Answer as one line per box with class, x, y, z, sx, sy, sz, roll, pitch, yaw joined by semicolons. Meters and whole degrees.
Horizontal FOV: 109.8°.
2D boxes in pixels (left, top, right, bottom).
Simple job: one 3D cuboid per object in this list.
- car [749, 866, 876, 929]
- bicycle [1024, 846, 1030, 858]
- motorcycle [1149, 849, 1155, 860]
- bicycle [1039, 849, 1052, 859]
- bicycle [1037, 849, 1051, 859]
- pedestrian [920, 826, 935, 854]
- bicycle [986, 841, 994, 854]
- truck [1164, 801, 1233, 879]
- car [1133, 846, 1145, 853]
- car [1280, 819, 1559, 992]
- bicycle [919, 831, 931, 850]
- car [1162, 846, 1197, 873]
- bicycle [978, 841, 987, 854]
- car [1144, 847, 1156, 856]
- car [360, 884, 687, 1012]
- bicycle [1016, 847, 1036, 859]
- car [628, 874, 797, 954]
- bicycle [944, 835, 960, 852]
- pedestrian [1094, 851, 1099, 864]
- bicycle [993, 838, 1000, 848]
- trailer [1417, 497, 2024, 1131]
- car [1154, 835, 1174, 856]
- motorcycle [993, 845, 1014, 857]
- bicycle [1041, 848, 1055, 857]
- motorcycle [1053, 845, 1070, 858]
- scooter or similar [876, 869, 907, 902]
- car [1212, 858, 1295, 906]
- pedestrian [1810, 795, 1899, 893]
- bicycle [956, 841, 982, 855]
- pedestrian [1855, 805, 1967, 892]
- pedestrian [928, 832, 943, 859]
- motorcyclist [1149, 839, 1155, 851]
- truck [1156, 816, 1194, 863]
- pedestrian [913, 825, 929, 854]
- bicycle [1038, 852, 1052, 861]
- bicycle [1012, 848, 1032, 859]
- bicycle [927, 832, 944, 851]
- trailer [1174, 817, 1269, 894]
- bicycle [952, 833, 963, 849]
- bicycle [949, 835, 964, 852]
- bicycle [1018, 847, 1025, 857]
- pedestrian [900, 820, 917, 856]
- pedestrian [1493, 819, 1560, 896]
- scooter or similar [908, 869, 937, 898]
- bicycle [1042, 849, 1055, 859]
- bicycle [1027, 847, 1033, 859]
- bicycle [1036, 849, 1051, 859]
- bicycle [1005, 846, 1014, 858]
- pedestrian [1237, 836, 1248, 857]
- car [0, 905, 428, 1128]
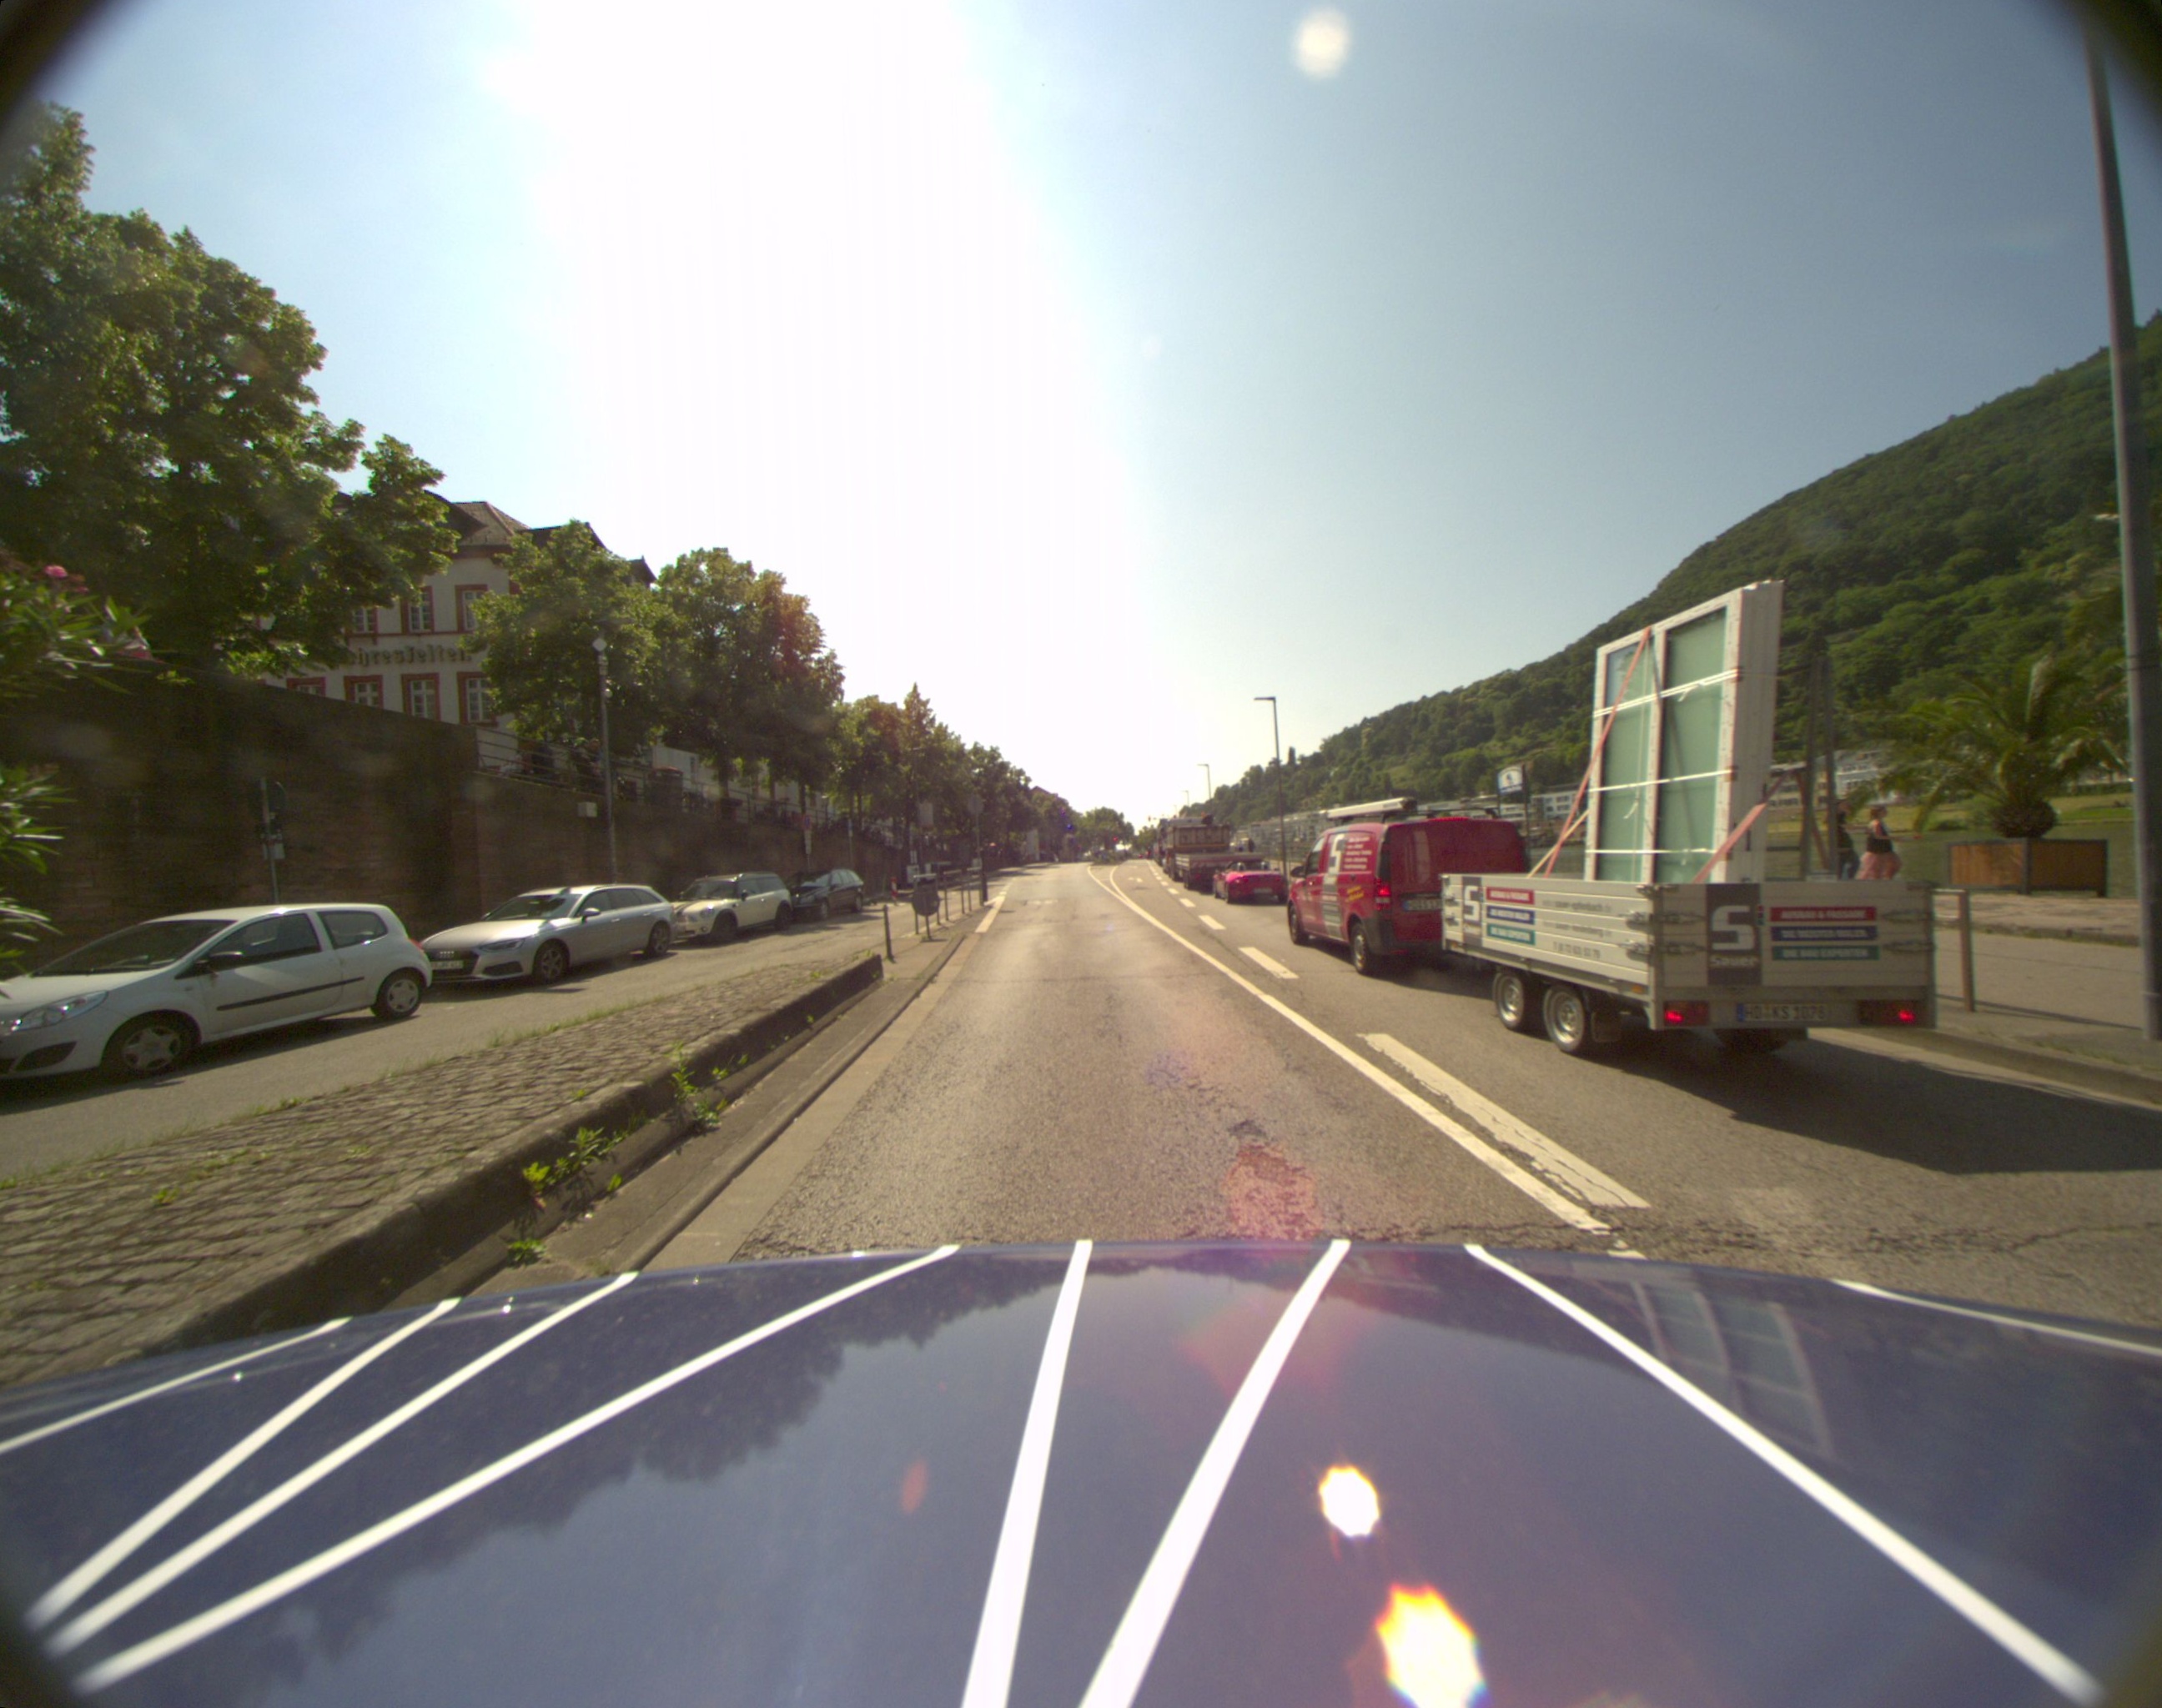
car;-7.859;1.206;22.750;1.847;1.442;4.535;-3;1;4
bicycle;-5.806;-0.206;81.833;0.476;1.254;2.162;-1;1;2
motorcycle;9.128;0.040;97.750;0.728;1.379;2.512;-3;1;6
bicycle;-4.466;-0.017;95.538;1.631;1.163;0.350;-1;1;0
bicycle;-4.468;0.016;91.808;1.753;1.126;0.540;-1;1;-3
pedestrian;-9.624;-0.889;47.766;0.720;1.711;0.573;-3;1;4
bicycle;-7.377;-0.518;61.712;0.299;0.998;1.942;-3;0;3
truck;5.715;-0.720;38.073;2.648;3.437;7.871;-2;1;4
car;11.958;-0.903;155.732;1.908;1.428;3.890;-3;1;-2
car;4.253;0.555;10.479;1.879;1.817;4.544;-2;0;1
bicycle;-9.021;-0.781;44.001;0.411;1.099;1.734;-2;1;-3
car;5.935;0.282;46.225;1.781;1.435;3.997;-3;1;4
bicycle;-7.708;-0.483;59.591;0.299;0.998;1.860;-3;0;3
car;12.694;-0.404;139.469;1.998;1.444;4.262;-4;0;3
car;-8.899;1.390;12.819;1.758;1.424;4.756;-3;1;3
bicycle;-6.389;-0.135;88.056;2.160;1.360;0.584;-1;1;4
car;-8.311;1.291;17.569;1.615;1.405;3.904;-3;1;6
bicycle;-8.506;-0.706;50.113;0.411;1.099;1.735;-3;1;9
pedestrian;2.087;0.466;102.324;0.541;1.767;0.582;-2;0;2
bicycle;-7.243;-0.934;65.196;0.350;0.779;1.919;-3;0;2
trailer;4.129;-0.200;5.709;1.746;3.301;3.384;-2;1;2
car;10.280;-1.085;94.346;2.199;2.511;4.749;0;1;4
motorcycle;-7.488;-0.263;73.198;1.920;1.092;0.574;-2;1;-4
bicycle;-4.063;-0.192;93.950;1.631;1.126;0.413;-1;1;0
motorcycle;-2.494;-0.354;96.486;2.196;1.519;0.800;-2;1;40
scooter or similar;-7.436;1.227;29.926;0.532;1.223;1.272;-2;1;18
car;4.960;0.776;22.307;1.675;1.187;3.628;-2;1;1
pedestrian;13.963;-0.173;13.731;0.797;1.682;0.845;-4;1;-24
bicycle;-8.565;-0.430;58.176;1.858;0.999;0.299;-3;0;1
pedestrian;15.205;-0.109;13.951;0.795;1.525;1.116;1;1;1
pedestrian;-9.258;-0.552;48.377;0.720;1.711;0.573;-3;1;4
motorcyclist;9.098;-1.102;97.608;0.703;1.518;0.861;-3;1;6
truck;7.784;-1.178;63.833;2.648;3.456;11.110;-3;1;5
pedestrian;-9.941;-0.896;47.167;0.720;1.711;0.711;-3;1;4
bicycle;-4.497;0.307;95.238;1.631;1.210;0.413;-1;1;0
bicycle;-6.653;-0.050;85.984;2.160;1.254;0.477;-1;1;4
bicycle;-8.817;-0.775;45.969;0.411;1.099;1.735;-2;1;9
trailer;5.189;-0.023;29.249;2.703;2.516;6.947;-2;1;4
bicycle;-9.139;-0.946;56.350;0.383;1.133;1.934;-3;0;3
bicycle;-8.474;-0.722;51.806;0.411;1.099;1.925;-3;1;9
bicycle;-6.089;-0.175;77.566;0.301;1.043;2.163;-1;-1;5
pedestrian;-10.631;-0.998;46.883;0.720;2.176;0.711;-3;1;4
pedestrian;10.312;0.069;17.641;0.818;1.691;1.151;-4;1;2
scooter or similar;-6.365;1.182;30.658;0.532;1.083;1.440;-2;1;13
bicycle;-4.144;-0.024;96.483;1.629;1.163;0.367;-1;0;22
bicycle;-5.636;-0.129;84.088;0.476;1.254;2.162;-1;1;2
bicycle;-4.575;0.010;92.367;1.753;1.126;0.464;-1;1;0
bicycle;-6.675;-0.203;71.143;0.345;1.106;1.920;-3;1;8
pedestrian;13.125;-0.610;61.717;0.713;1.697;0.845;-3;1;6
car;-9.115;1.440;7.724;1.715;1.449;3.547;-3;1;2
